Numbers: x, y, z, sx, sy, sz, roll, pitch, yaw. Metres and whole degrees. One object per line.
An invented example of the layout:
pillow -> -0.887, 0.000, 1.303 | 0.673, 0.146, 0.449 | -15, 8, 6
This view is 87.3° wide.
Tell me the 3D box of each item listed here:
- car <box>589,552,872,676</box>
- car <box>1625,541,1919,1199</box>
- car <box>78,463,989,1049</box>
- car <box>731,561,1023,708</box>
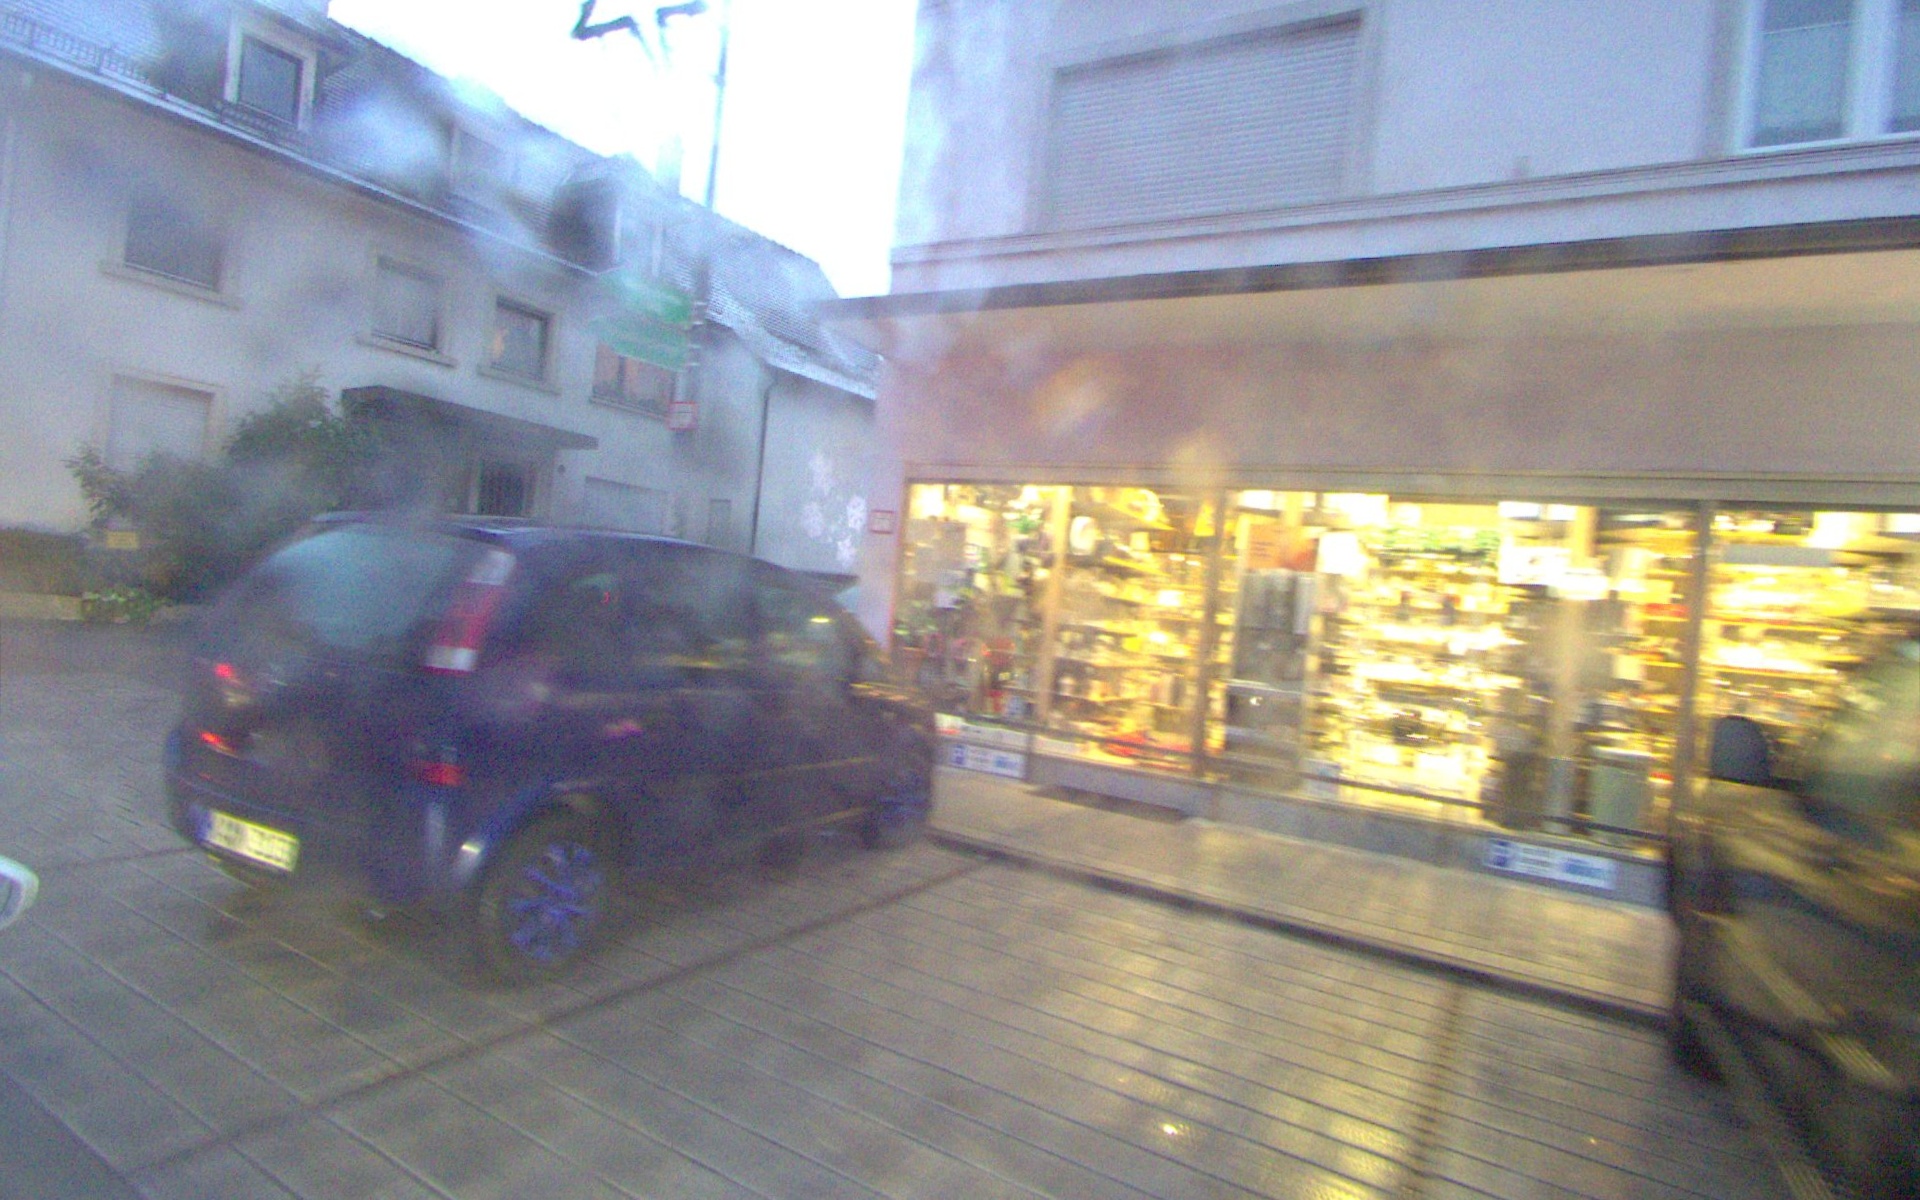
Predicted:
car -> -3.391, 0.278, 15.584 | 1.905, 1.543, 3.989 | 6, 0, 33
car -> 2.846, 0.895, 1.939 | 1.911, 1.798, 4.612 | 7, 0, 27
car -> -1.484, 0.493, 4.941 | 1.652, 1.599, 3.877 | 6, 0, 26
car -> -0.978, 0.495, 13.941 | 1.967, 1.590, 3.991 | 6, 0, 31
